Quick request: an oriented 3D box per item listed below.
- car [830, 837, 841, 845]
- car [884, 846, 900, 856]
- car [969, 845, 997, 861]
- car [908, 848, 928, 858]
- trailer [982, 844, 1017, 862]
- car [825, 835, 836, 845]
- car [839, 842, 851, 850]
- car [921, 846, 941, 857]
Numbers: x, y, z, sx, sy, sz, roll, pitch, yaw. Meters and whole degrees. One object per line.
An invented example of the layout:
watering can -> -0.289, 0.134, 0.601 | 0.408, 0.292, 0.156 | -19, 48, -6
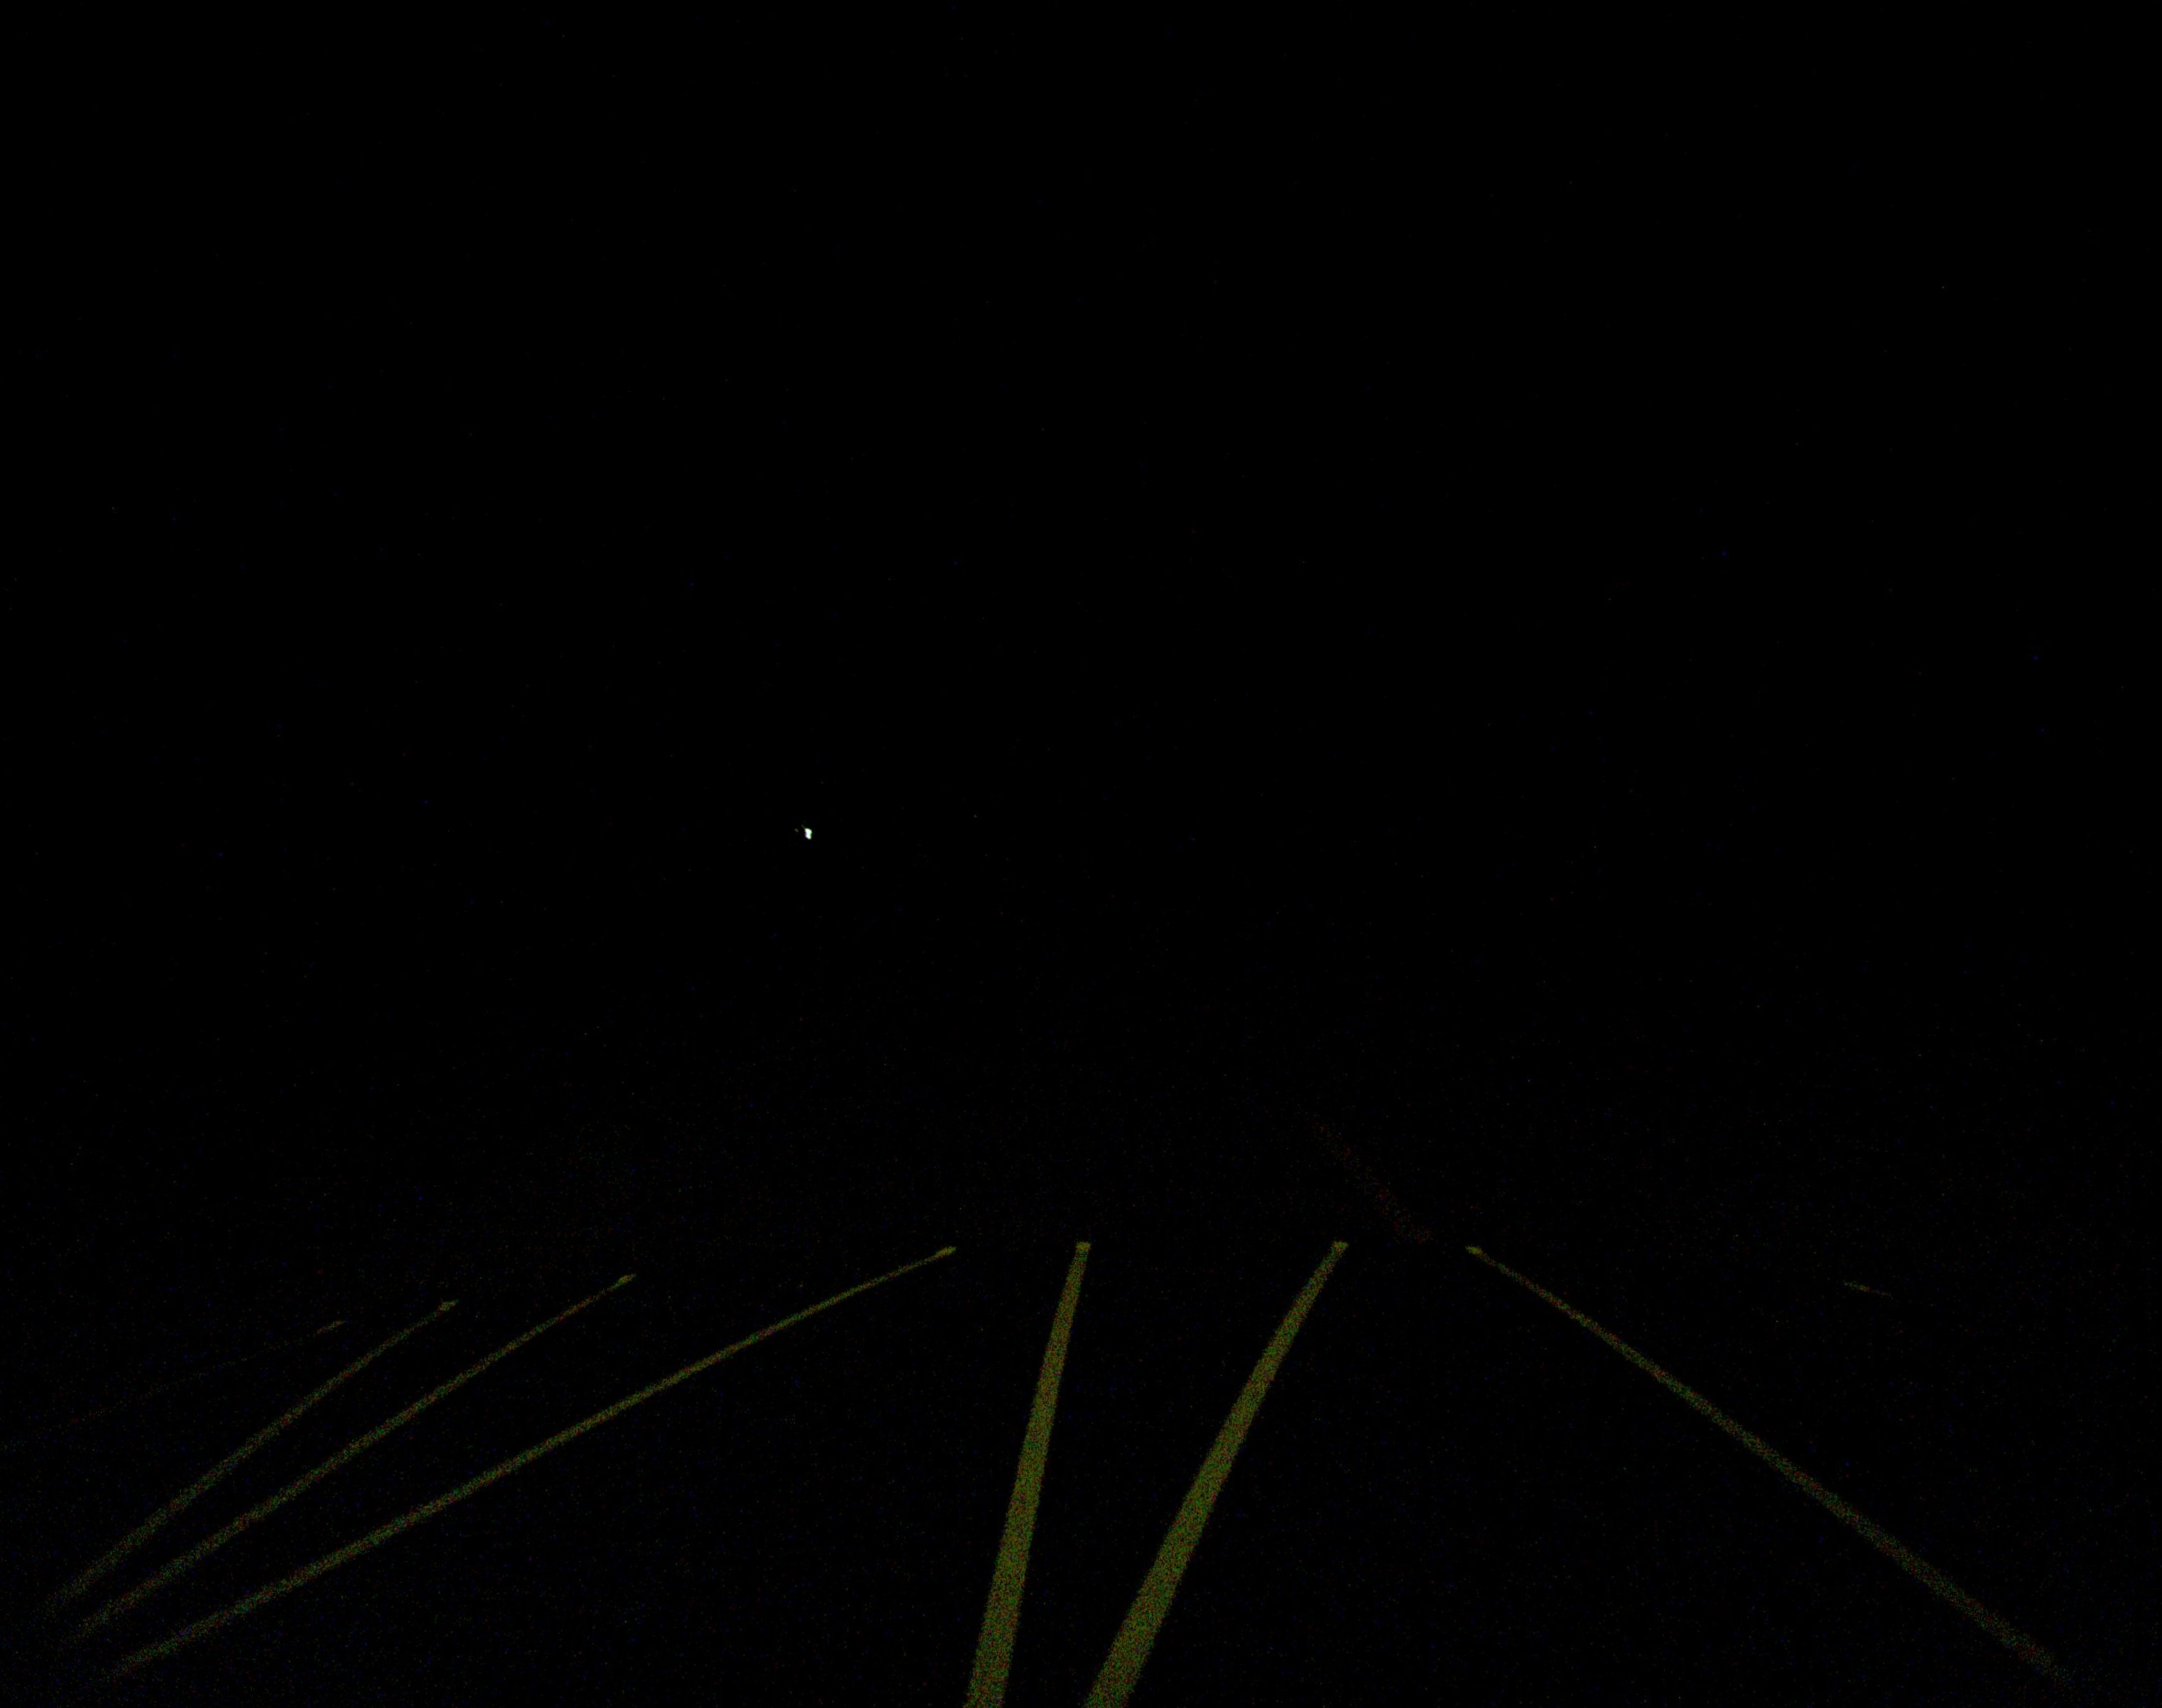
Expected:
car -> -59.912, -3.182, 185.391 | 2.129, 1.761, 4.709 | 2, 1, -23
car -> -32.514, -0.520, 130.573 | 1.772, 1.558, 4.682 | 3, 0, -26
car -> -11.015, -0.097, 84.973 | 1.725, 1.568, 4.524 | 2, 1, -25
car -> -24.355, -0.210, 113.290 | 1.909, 1.357, 4.972 | 2, 1, -23
trailer -> -8.677, -0.151, 80.371 | 2.034, 1.770, 5.661 | 1, 1, -24
car -> -65.320, -3.739, 198.062 | 2.169, 2.498, 4.709 | 2, 1, -23
car -> -54.044, -1.902, 174.214 | 2.129, 1.761, 4.709 | 2, 1, -23
car -> -21.322, -0.341, 107.638 | 1.736, 1.357, 4.135 | 2, 1, -26
